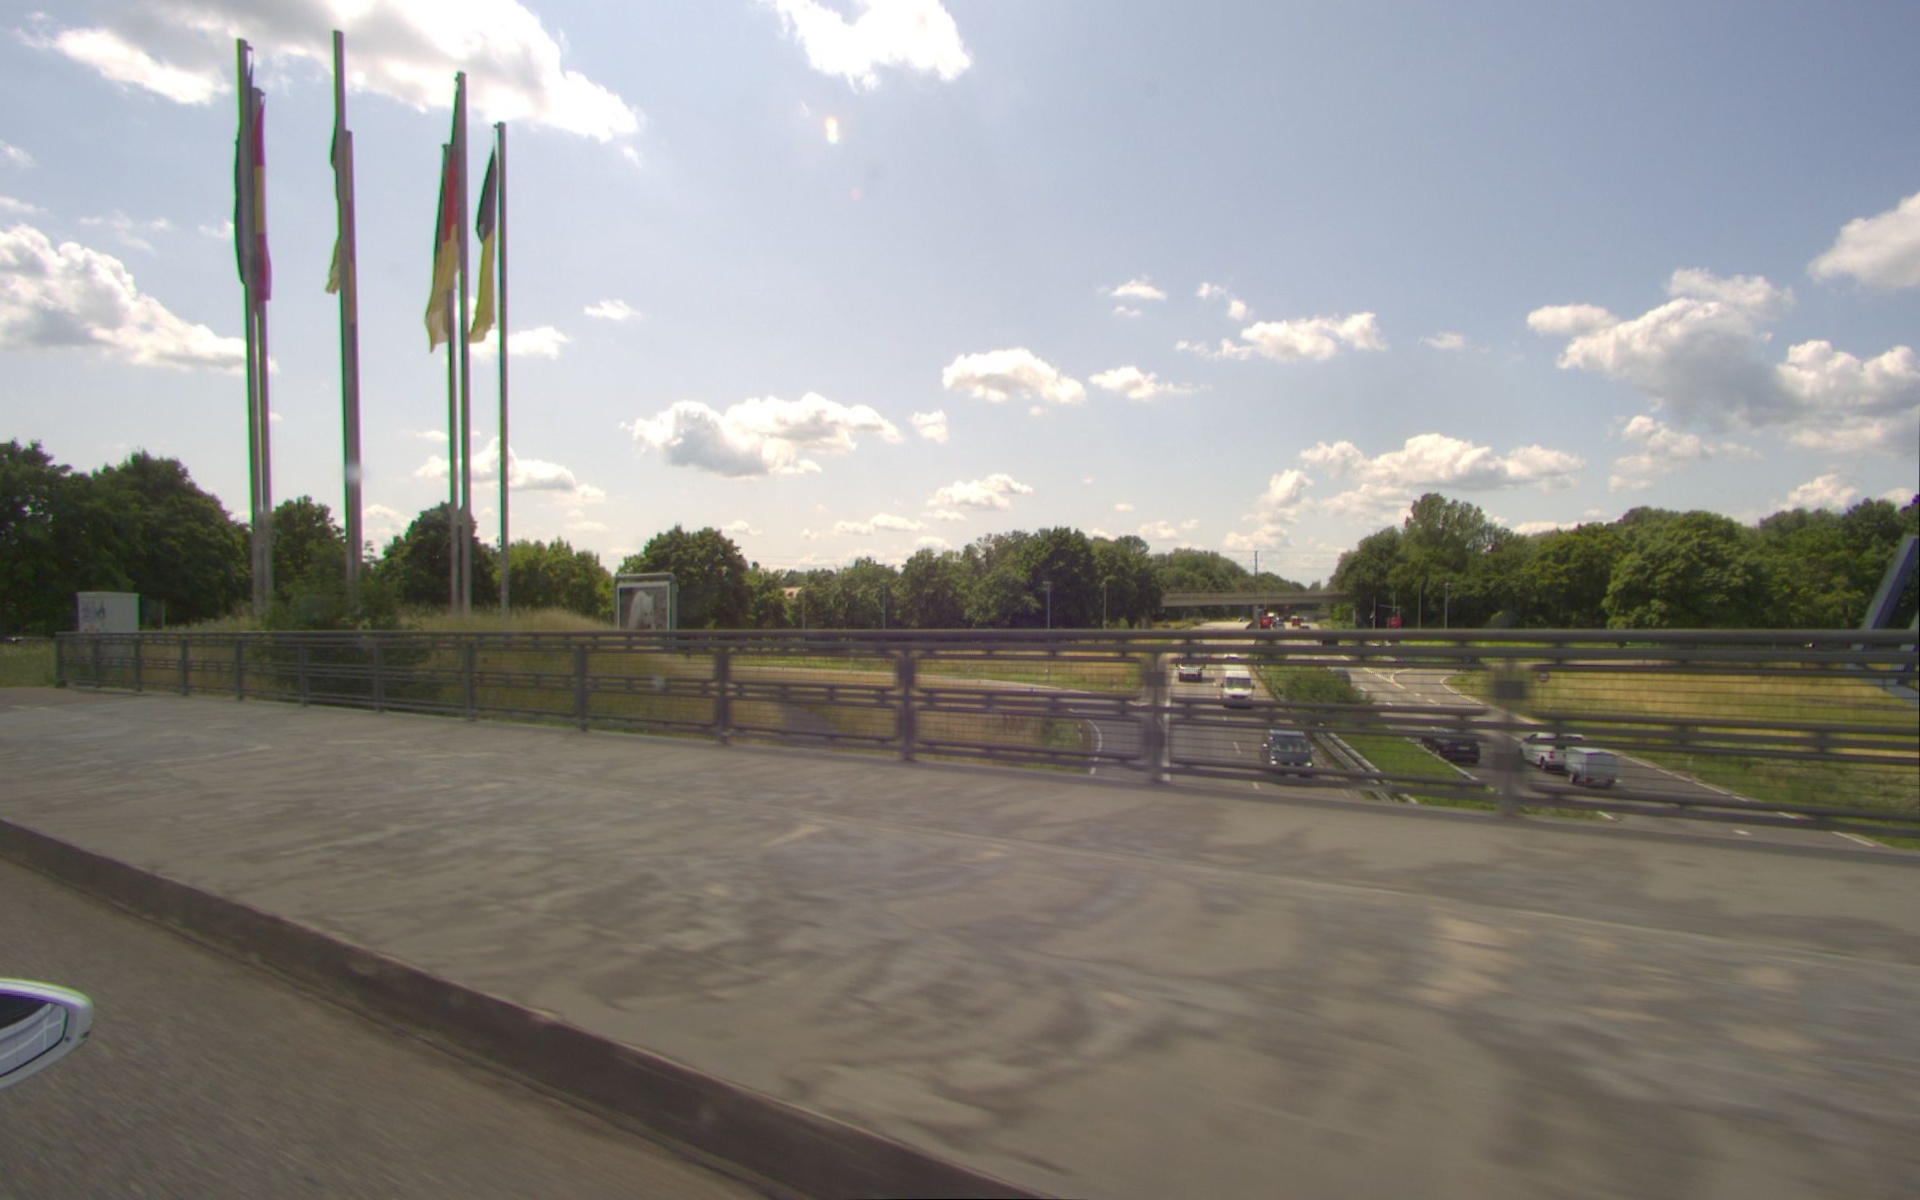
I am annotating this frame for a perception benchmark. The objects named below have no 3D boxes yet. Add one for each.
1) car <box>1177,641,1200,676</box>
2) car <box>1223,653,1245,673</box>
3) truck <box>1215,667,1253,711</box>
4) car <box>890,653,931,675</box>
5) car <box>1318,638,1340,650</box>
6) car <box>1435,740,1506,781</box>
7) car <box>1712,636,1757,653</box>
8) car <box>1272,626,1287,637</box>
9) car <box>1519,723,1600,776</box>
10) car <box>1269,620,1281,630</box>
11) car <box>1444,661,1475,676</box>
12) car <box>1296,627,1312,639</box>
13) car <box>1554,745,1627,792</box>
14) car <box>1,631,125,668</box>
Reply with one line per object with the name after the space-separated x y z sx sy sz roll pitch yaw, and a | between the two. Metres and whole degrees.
20.656 5.240 90.488 1.962 2.937 3.998 1 -1 13 | car
27.308 6.273 99.958 1.962 1.766 3.998 1 -1 13 | car
19.492 6.274 71.470 1.962 2.737 6.617 1 -1 10 | truck
-5.213 6.726 105.502 3.942 2.040 1.990 0 -1 32 | car
46.053 5.495 125.026 1.962 1.304 3.998 1 -1 13 | car
23.510 7.372 46.259 1.962 1.304 3.998 1 -1 13 | car
91.038 5.174 117.700 1.982 1.906 3.959 2 -1 -45 | car
58.474 5.737 183.293 1.962 2.039 3.999 1 -1 11 | car
27.246 6.767 45.650 1.962 1.861 3.998 1 -1 13 | car
65.389 5.132 207.795 1.962 2.039 3.999 1 -1 11 | car
52.098 7.136 104.420 1.962 1.304 3.998 1 -1 13 | car
59.607 5.695 173.577 1.962 2.039 3.999 1 -1 11 | car
26.485 7.051 42.162 1.631 1.490 3.146 1 -1 13 | car
-43.049 2.330 48.168 1.967 1.683 3.990 1 -1 24 | car
